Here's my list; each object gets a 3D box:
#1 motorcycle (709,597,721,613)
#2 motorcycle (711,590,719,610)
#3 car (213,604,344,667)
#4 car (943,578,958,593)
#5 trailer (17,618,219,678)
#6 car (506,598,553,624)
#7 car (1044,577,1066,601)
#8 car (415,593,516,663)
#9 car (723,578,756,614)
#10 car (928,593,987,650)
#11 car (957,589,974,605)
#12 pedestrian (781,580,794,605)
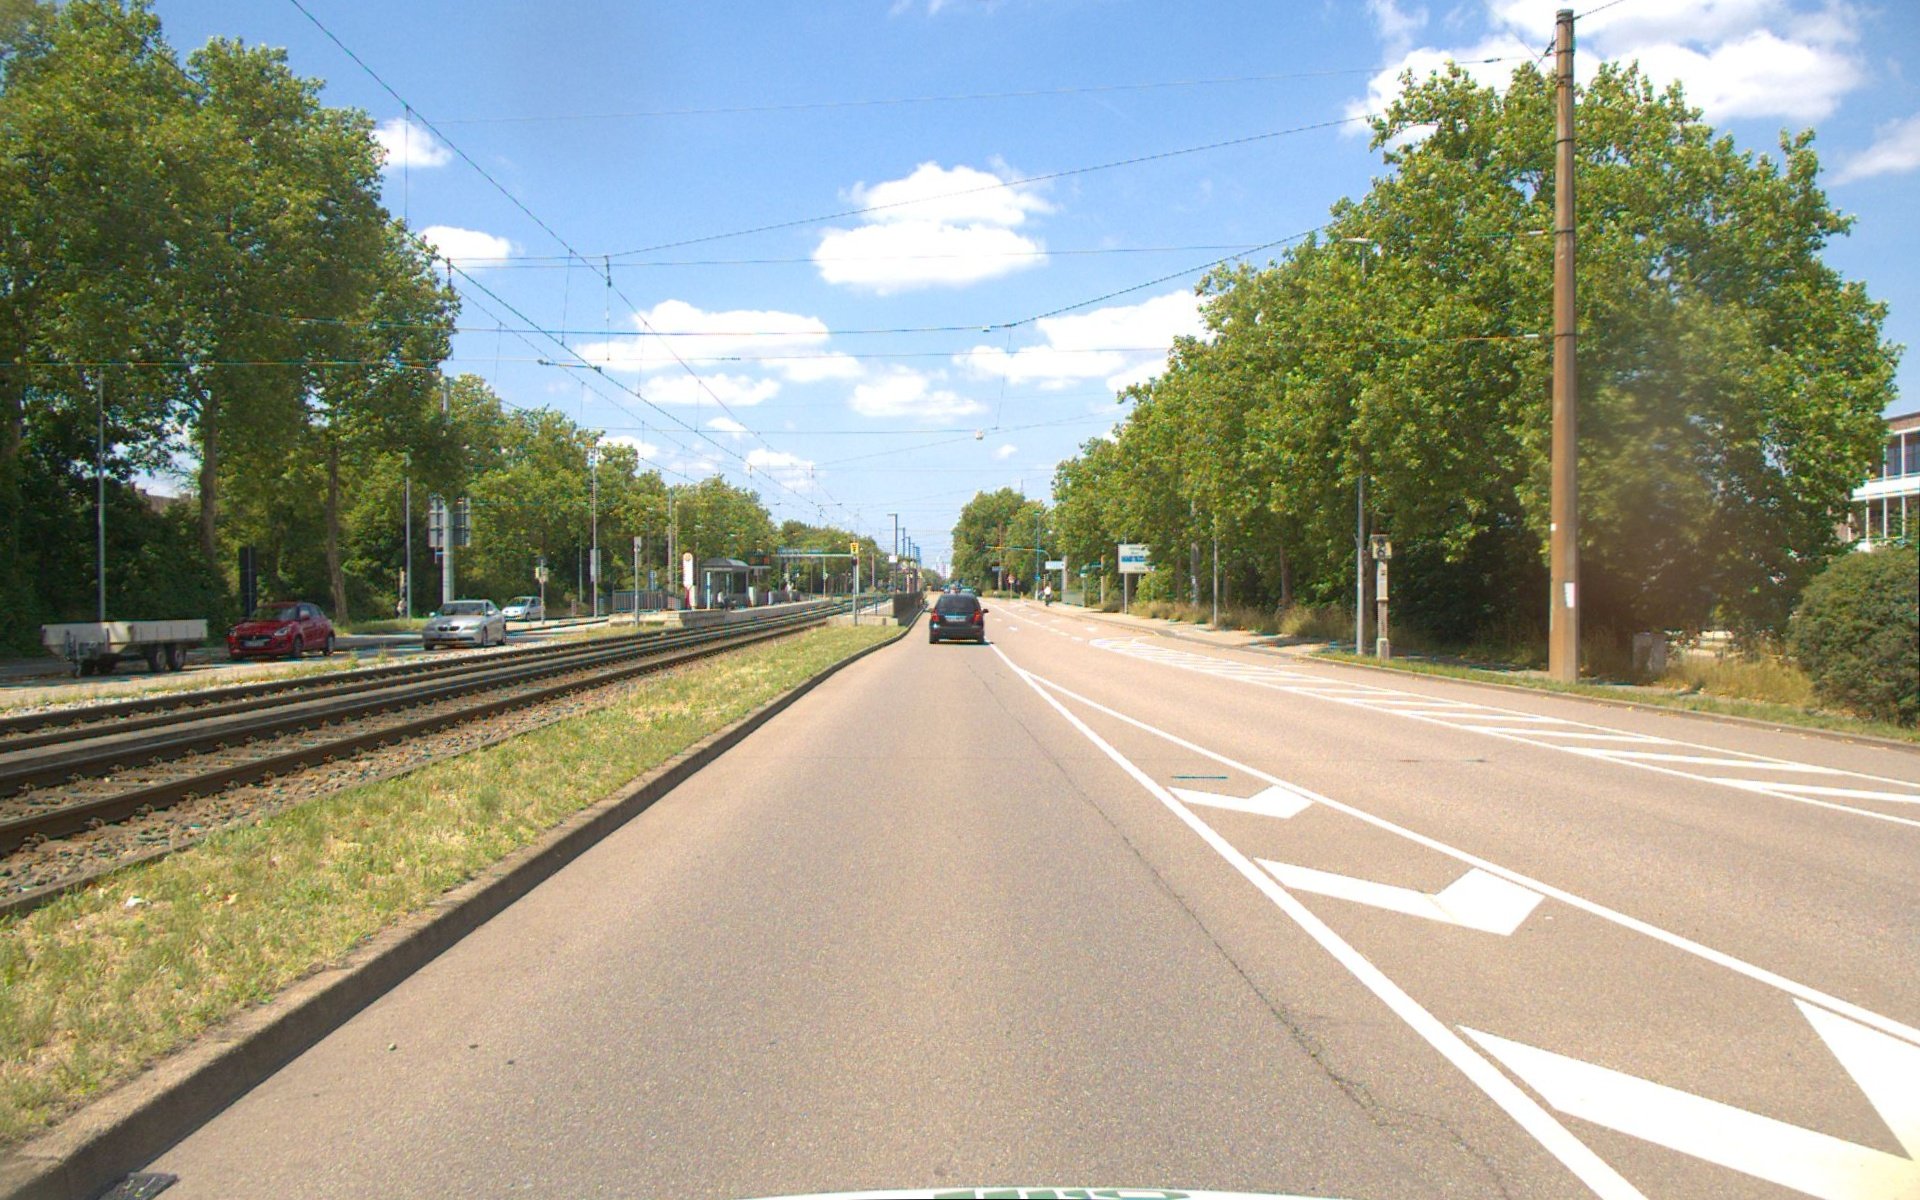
[{"bbox_3d":[-14.612,0.286,98.624,0.226,0.914,0.882,0,0,30],"label":"motorcycle"},{"bbox_3d":[-14.602,0.025,98.642,0.277,1.194,0.391,0,0,30],"label":"motorcycle"},{"bbox_3d":[-18.376,0.919,44.765,1.953,1.601,3.999,0,0,-1],"label":"car"},{"bbox_3d":[-1.348,-2.072,234.139,1.953,2.048,4.000,1,1,-1],"label":"car"},{"bbox_3d":[-17.910,0.977,35.485,1.854,1.062,5.101,1,0,-2],"label":"trailer"},{"bbox_3d":[-27.394,0.678,105.384,1.953,1.601,4.000,0,0,0],"label":"car"},{"bbox_3d":[8.144,-0.959,142.159,1.580,2.048,3.439,1,1,-1],"label":"car"},{"bbox_3d":[-15.186,0.827,50.975,1.953,2.049,3.999,0,0,-1],"label":"car"},{"bbox_3d":[-13.333,-0.241,99.967,1.553,2.048,4.109,1,1,-2],"label":"car"},{"bbox_3d":[-0.076,0.667,53.798,1.815,1.597,4.389,1,2,0],"label":"car"},{"bbox_3d":[0.615,-0.411,193.854,1.846,1.668,4.000,3,1,0],"label":"car"},{"bbox_3d":[-14.246,-0.615,136.733,0.933,2.048,0.892,1,1,-1],"label":"pedestrian"}]
